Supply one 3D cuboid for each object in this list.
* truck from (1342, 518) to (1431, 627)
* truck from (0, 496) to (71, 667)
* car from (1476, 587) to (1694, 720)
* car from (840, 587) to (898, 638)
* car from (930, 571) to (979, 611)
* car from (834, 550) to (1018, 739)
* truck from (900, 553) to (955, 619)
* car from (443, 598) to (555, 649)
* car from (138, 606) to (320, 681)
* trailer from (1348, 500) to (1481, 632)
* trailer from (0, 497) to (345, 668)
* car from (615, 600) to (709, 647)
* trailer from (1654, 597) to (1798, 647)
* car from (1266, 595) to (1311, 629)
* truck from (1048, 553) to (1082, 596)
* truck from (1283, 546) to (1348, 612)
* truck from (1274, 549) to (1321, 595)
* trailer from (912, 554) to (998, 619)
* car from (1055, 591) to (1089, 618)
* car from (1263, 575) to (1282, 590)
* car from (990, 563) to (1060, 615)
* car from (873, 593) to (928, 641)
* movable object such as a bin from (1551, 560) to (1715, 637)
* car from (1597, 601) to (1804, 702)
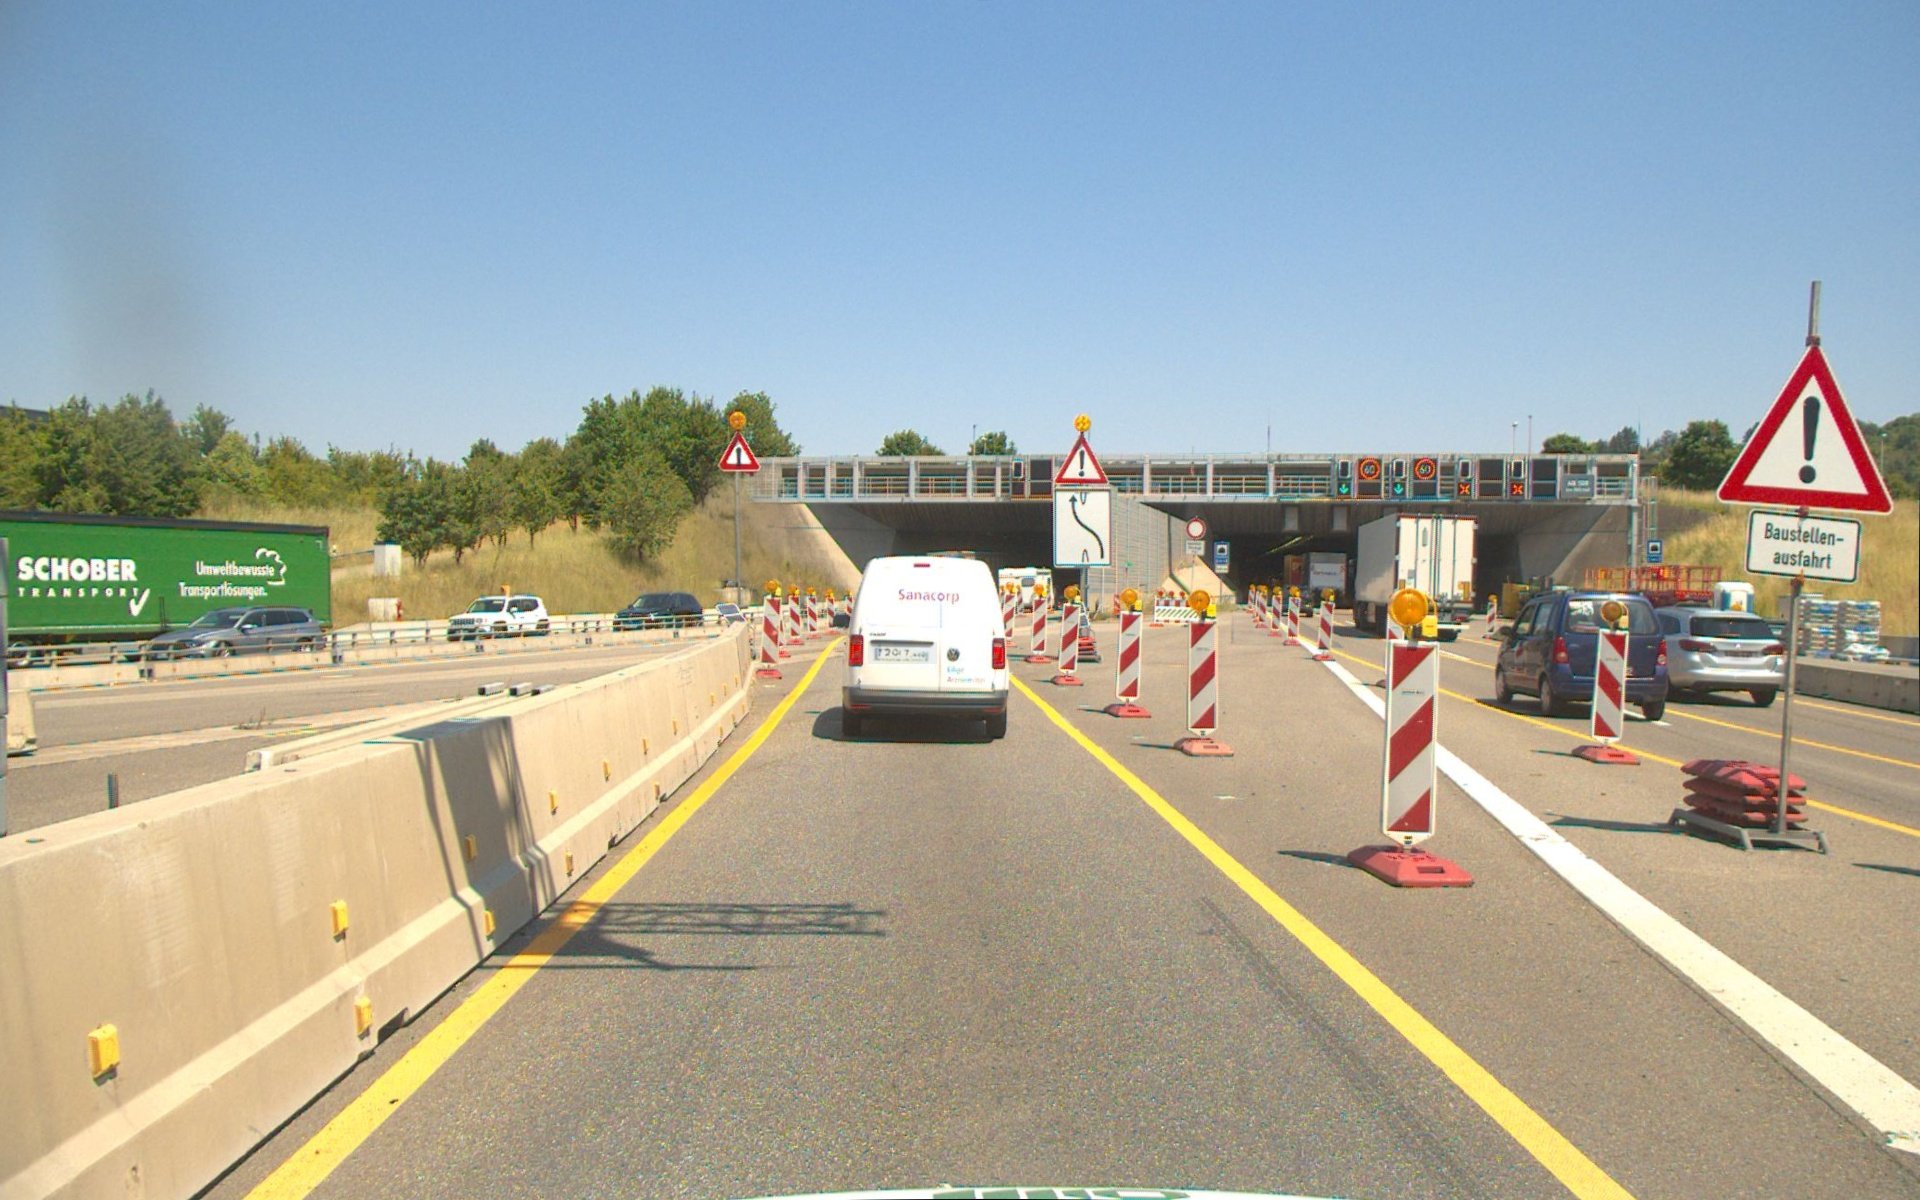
[{"bbox_3d":[17.091,-1.067,66.624,2.686,4.103,5.931,2,0,8],"label":"truck"},{"bbox_3d":[-26.283,-0.501,41.833,3.473,4.345,5.780,1,0,20],"label":"truck"},{"bbox_3d":[8.879,0.695,23.917,1.776,1.671,4.656,2,0,6],"label":"car"},{"bbox_3d":[-2.946,0.371,52.955,1.773,1.564,4.406,0,0,-4],"label":"car"},{"bbox_3d":[-0.215,-0.393,76.081,1.770,1.781,4.413,0,0,6],"label":"car"},{"bbox_3d":[-0.371,0.421,17.887,1.772,1.825,3.730,0,0,-1],"label":"car"},{"bbox_3d":[-2.170,-0.923,111.747,2.380,4.344,4.842,0,0,16],"label":"truck"},{"bbox_3d":[-15.519,0.760,55.870,1.679,1.652,4.173,0,0,17],"label":"car"},{"bbox_3d":[-17.572,1.002,39.971,1.679,1.652,4.172,1,0,17],"label":"car"},{"bbox_3d":[16.127,-1.083,59.705,2.674,4.133,14.106,2,0,8],"label":"trailer"},{"bbox_3d":[-24.070,-0.458,47.926,3.473,4.345,13.910,1,0,20],"label":"trailer"},{"bbox_3d":[-10.916,0.829,60.791,1.679,1.652,4.173,0,0,17],"label":"car"},{"bbox_3d":[27.148,0.748,58.904,2.540,1.596,6.239,-1,0,4],"label":"trailer"},{"bbox_3d":[17.359,0.625,87.507,1.777,1.658,4.192,2,0,4],"label":"car"},{"bbox_3d":[10.418,-2.470,163.917,2.285,4.179,5.021,0,0,16],"label":"truck"},{"bbox_3d":[26.536,-1.418,124.191,3.329,4.411,16.548,2,0,7],"label":"truck"},{"bbox_3d":[33.177,-2.670,163.189,3.329,4.142,16.549,2,0,7],"label":"truck"},{"bbox_3d":[-0.193,-0.958,118.713,2.384,4.372,13.818,0,0,16],"label":"trailer"},{"bbox_3d":[7.950,0.308,116.866,1.912,1.847,4.413,0,0,10],"label":"car"},{"bbox_3d":[43.962,-2.458,232.624,2.282,1.870,4.547,2,0,7],"label":"car"},{"bbox_3d":[3.865,-0.587,96.250,2.754,2.822,7.106,1,0,13],"label":"car"},{"bbox_3d":[-2.376,0.661,66.727,1.770,1.847,4.412,0,0,4],"label":"car"},{"bbox_3d":[29.540,-0.083,73.538,3.045,3.063,14.713,-1,0,7],"label":"movable object such as a bin"},{"bbox_3d":[12.329,0.796,27.880,1.776,1.490,4.656,2,0,6],"label":"car"}]
